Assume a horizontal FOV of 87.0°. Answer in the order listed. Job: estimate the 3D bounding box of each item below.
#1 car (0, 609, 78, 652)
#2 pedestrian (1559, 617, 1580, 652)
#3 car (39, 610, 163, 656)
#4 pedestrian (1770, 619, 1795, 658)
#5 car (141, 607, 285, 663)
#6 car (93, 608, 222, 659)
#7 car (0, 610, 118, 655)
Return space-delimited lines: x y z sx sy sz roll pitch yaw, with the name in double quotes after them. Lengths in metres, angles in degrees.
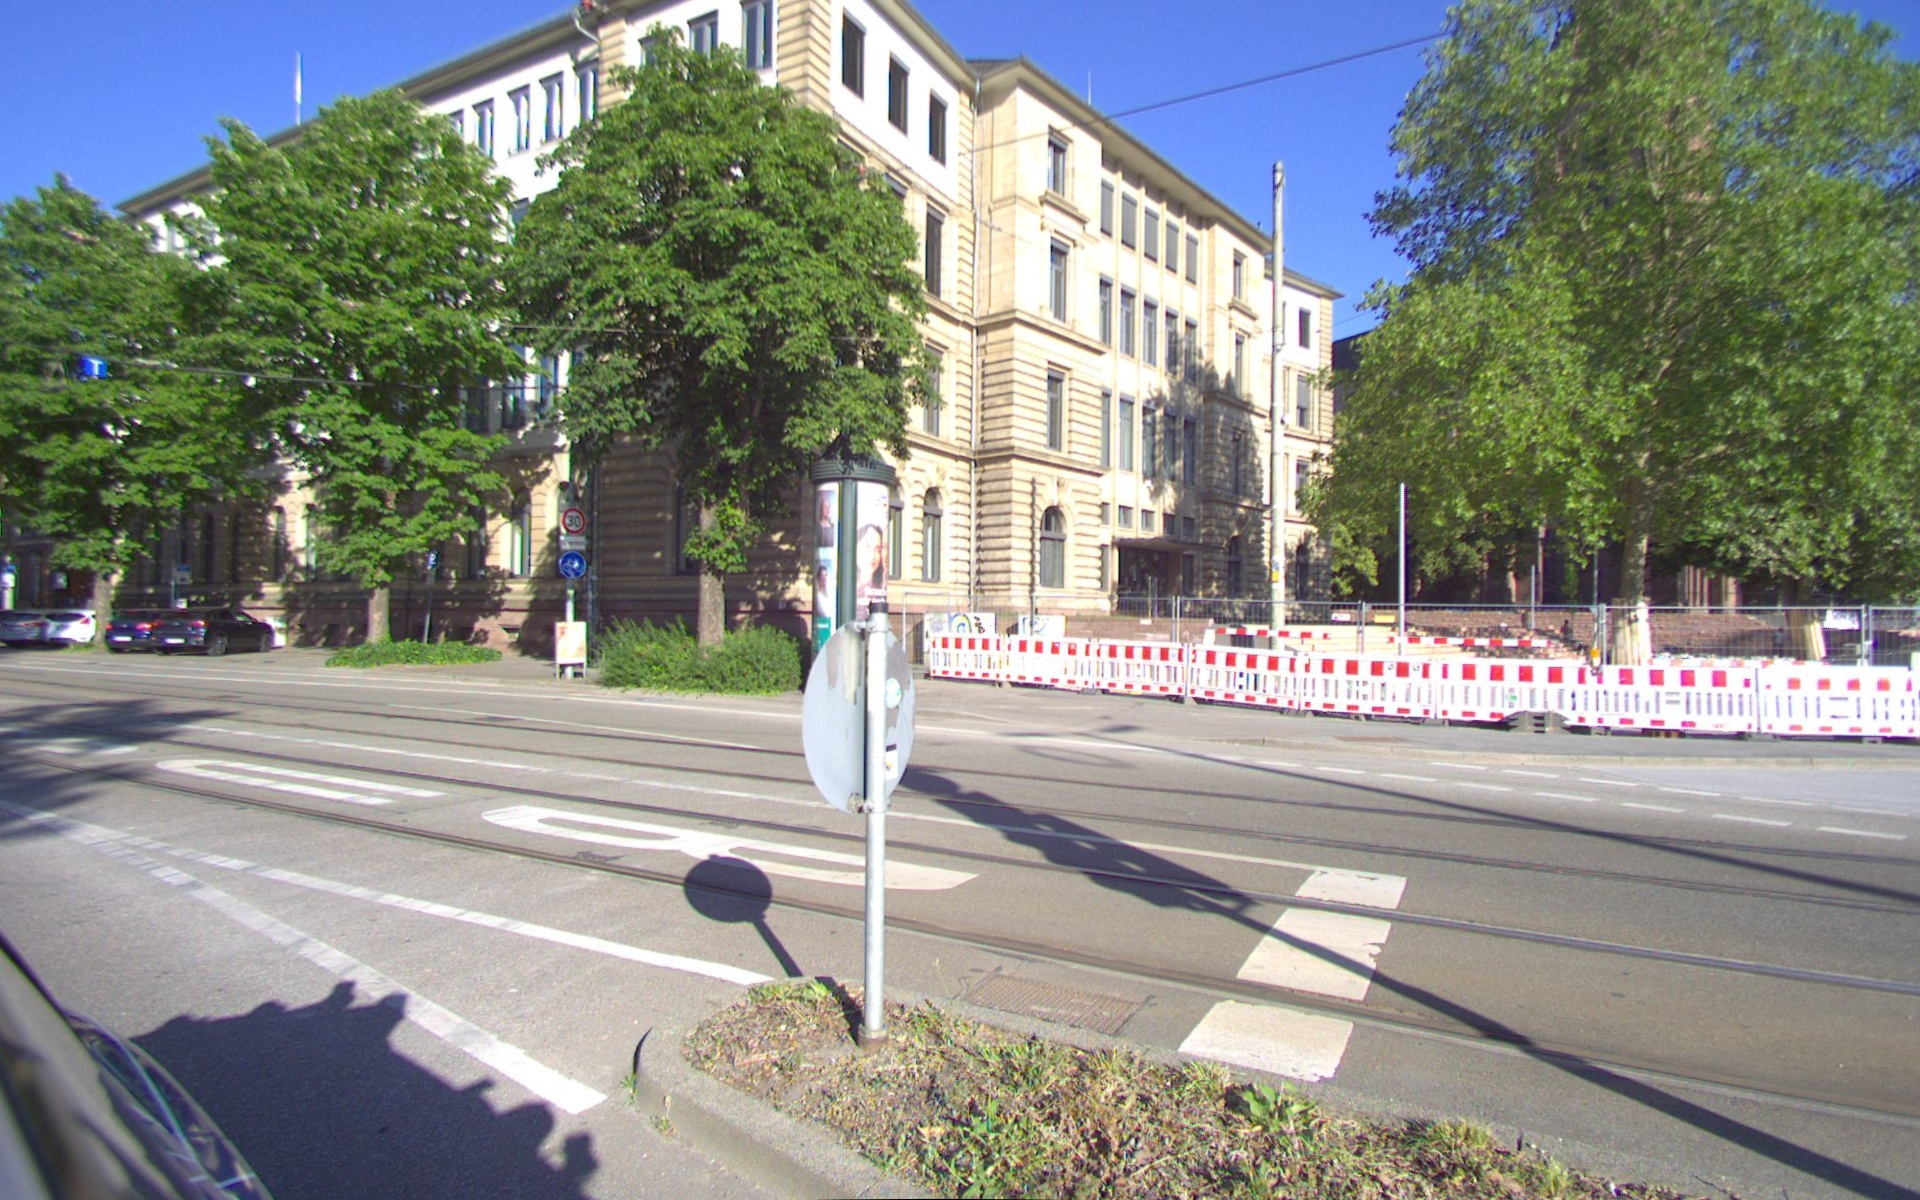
-37.166 1.171 39.982 1.626 1.572 3.653 -1 0 -3 "car"
29.338 1.652 48.692 0.627 1.660 0.677 1 -1 -37 "pedestrian"
-31.816 1.178 37.612 1.626 1.572 3.653 -1 0 -3 "car"
36.147 1.675 44.468 0.762 1.660 0.666 -1 -1 45 "pedestrian"
-24.478 1.098 33.360 1.819 1.643 4.184 -1 0 -3 "car"
-27.116 1.098 34.338 1.626 1.572 3.653 -1 0 -3 "car"
-34.135 1.188 38.302 1.626 1.572 3.653 -1 0 -3 "car"
